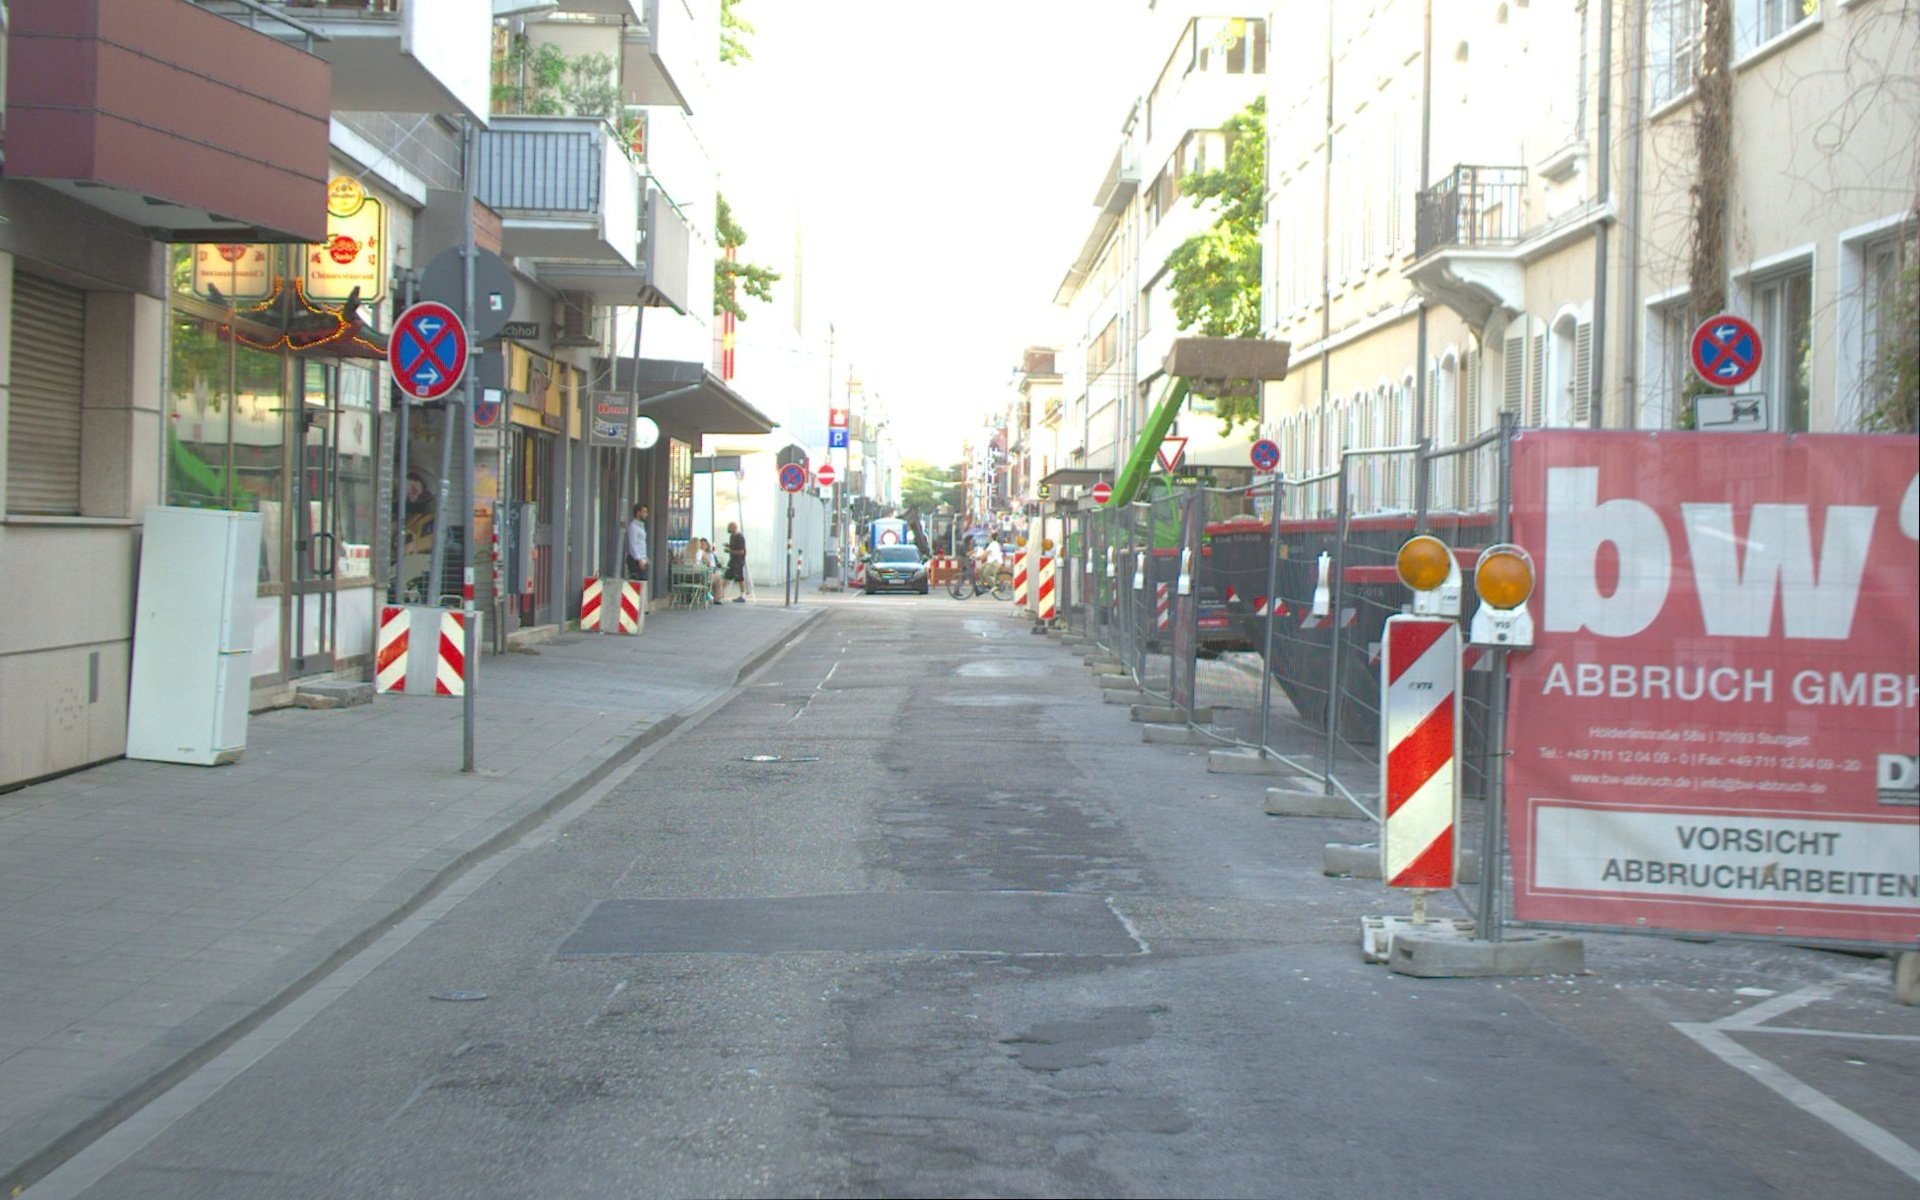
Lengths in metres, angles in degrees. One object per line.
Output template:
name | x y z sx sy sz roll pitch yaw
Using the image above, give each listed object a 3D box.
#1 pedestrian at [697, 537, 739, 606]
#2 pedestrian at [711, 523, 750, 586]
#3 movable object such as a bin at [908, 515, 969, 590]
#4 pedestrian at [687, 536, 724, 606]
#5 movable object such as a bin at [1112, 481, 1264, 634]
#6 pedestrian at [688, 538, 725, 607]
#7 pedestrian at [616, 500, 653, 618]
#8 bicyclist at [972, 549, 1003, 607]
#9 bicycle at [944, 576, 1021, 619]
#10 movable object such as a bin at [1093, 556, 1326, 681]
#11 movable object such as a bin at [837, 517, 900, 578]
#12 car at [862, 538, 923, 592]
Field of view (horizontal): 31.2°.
pedestrian | -4.652 -0.551 66.141 0.702 1.271 0.713 3 1 0
pedestrian | -4.706 -0.937 70.569 0.711 1.271 0.704 2 1 0
movable object such as a bin | -0.800 -1.734 125.647 2.156 2.654 4.573 1 1 -1
pedestrian | -4.770 -0.551 64.366 0.573 1.271 0.713 3 1 0
movable object such as a bin | 4.363 -0.838 66.592 2.605 2.829 4.450 1 1 0
pedestrian | -4.811 -0.519 65.222 0.573 1.271 0.713 3 1 0
pedestrian | -5.077 -0.643 53.628 0.530 1.828 0.563 1 1 -6
bicyclist | 0.692 -0.551 86.488 0.724 1.436 0.506 1 1 -2
bicycle | 0.574 -0.054 86.526 1.890 1.034 0.409 1 1 -3
movable object such as a bin | 3.651 0.214 52.071 2.735 1.633 7.553 2 1 -2
movable object such as a bin | -3.038 -1.758 115.378 1.993 2.007 4.000 1 1 0
car | -1.978 -1.029 100.281 1.629 1.545 3.143 1 1 -4
